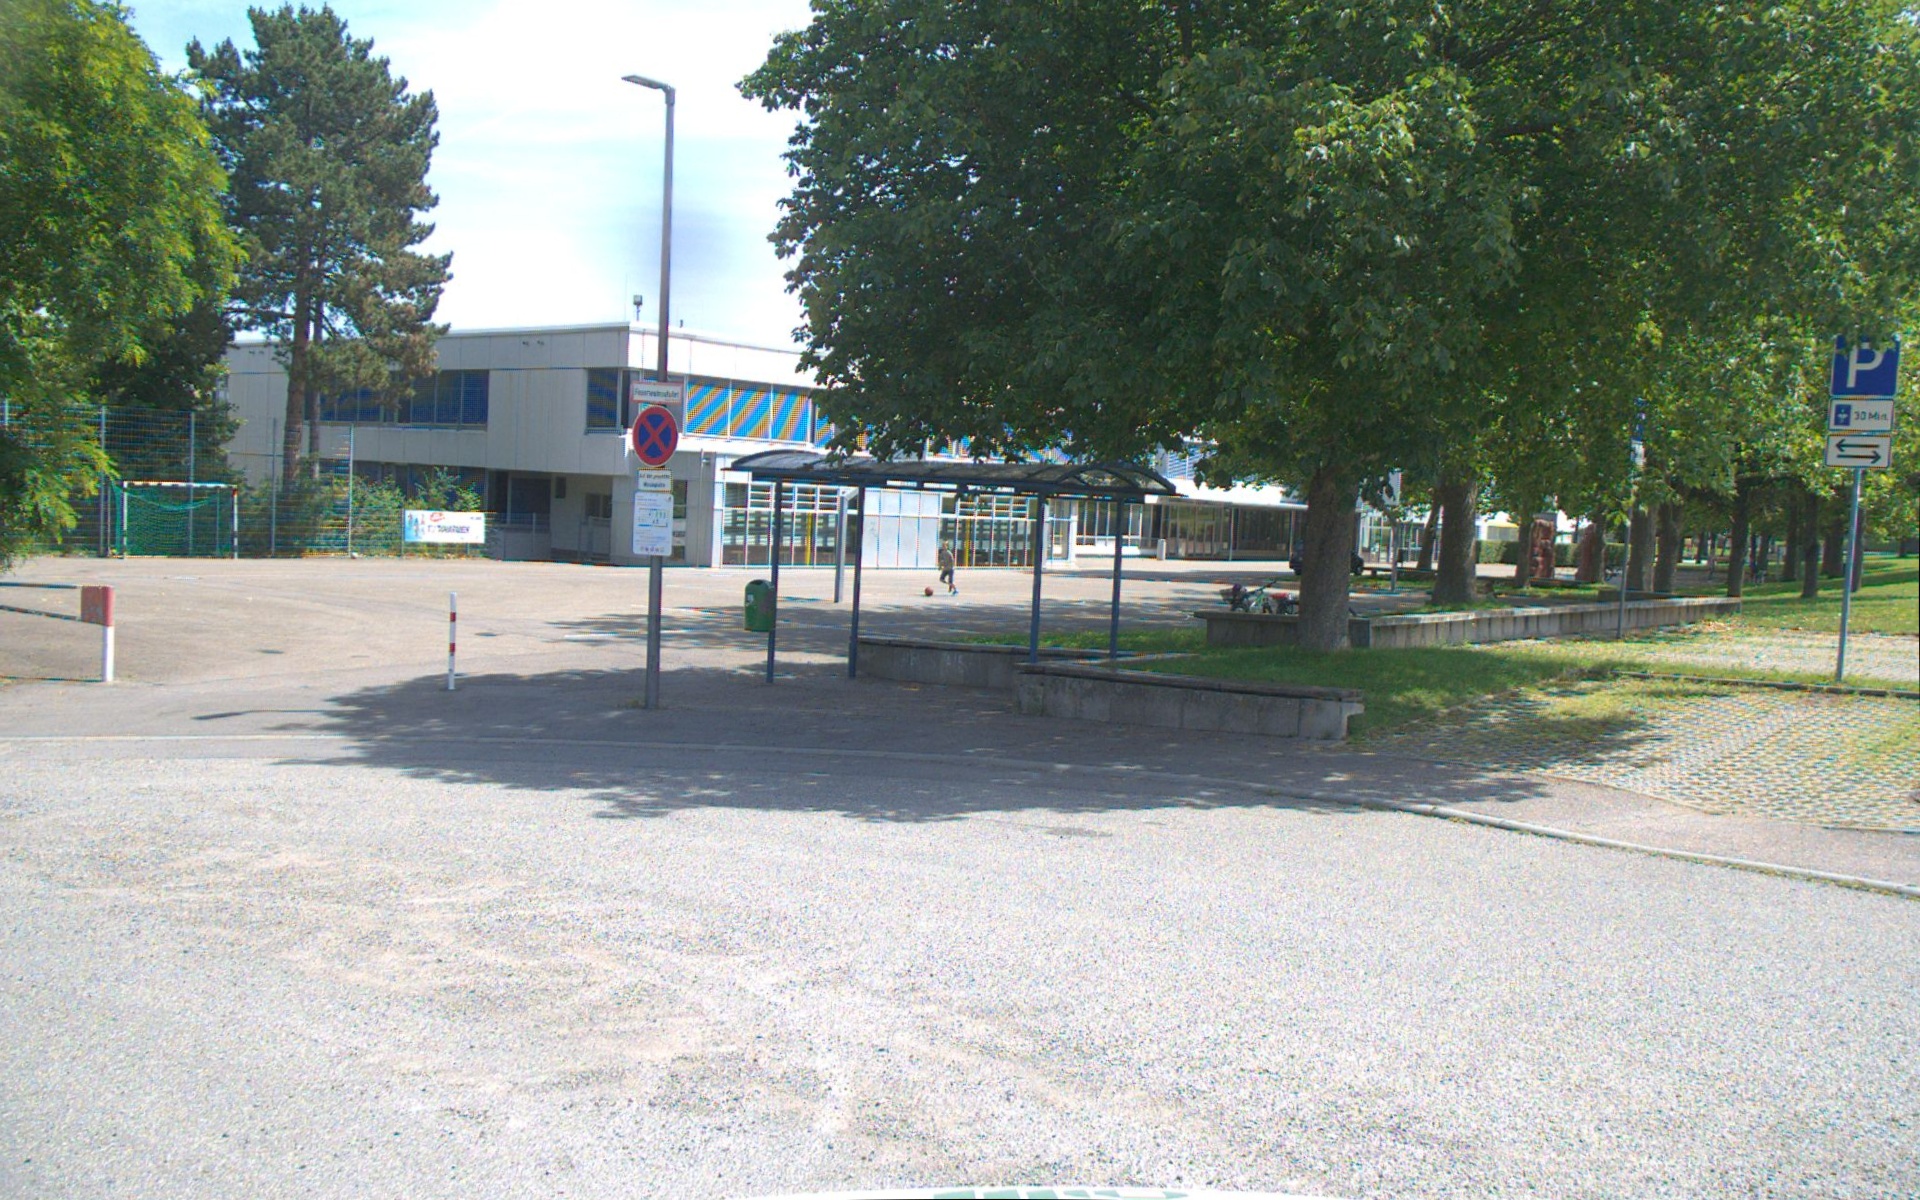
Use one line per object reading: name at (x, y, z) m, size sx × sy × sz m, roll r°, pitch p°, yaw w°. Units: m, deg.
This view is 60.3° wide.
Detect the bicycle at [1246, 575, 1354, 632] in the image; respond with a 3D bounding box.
bicycle at (6.798, 0.060, 33.117) m, size 2.021 × 1.057 × 0.572 m, roll 2°, pitch 2°, yaw 24°

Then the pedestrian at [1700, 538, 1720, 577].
pedestrian at (40.126, -2.254, 88.498) m, size 0.815 × 2.048 × 0.692 m, roll 3°, pitch 2°, yaw 15°

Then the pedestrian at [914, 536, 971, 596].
pedestrian at (-0.441, -0.861, 41.447) m, size 1.058 × 1.448 × 0.907 m, roll 1°, pitch 2°, yaw -38°

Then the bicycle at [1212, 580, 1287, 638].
bicycle at (5.536, 0.155, 31.560) m, size 0.585 × 1.057 × 1.884 m, roll 2°, pitch 2°, yaw 38°

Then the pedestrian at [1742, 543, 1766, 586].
pedestrian at (38.513, -1.710, 80.273) m, size 0.669 × 2.048 × 0.803 m, roll 2°, pitch 2°, yaw -1°

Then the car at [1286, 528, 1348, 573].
car at (15.361, -2.126, 71.079) m, size 1.659 × 1.866 × 3.405 m, roll 3°, pitch 2°, yaw 29°
